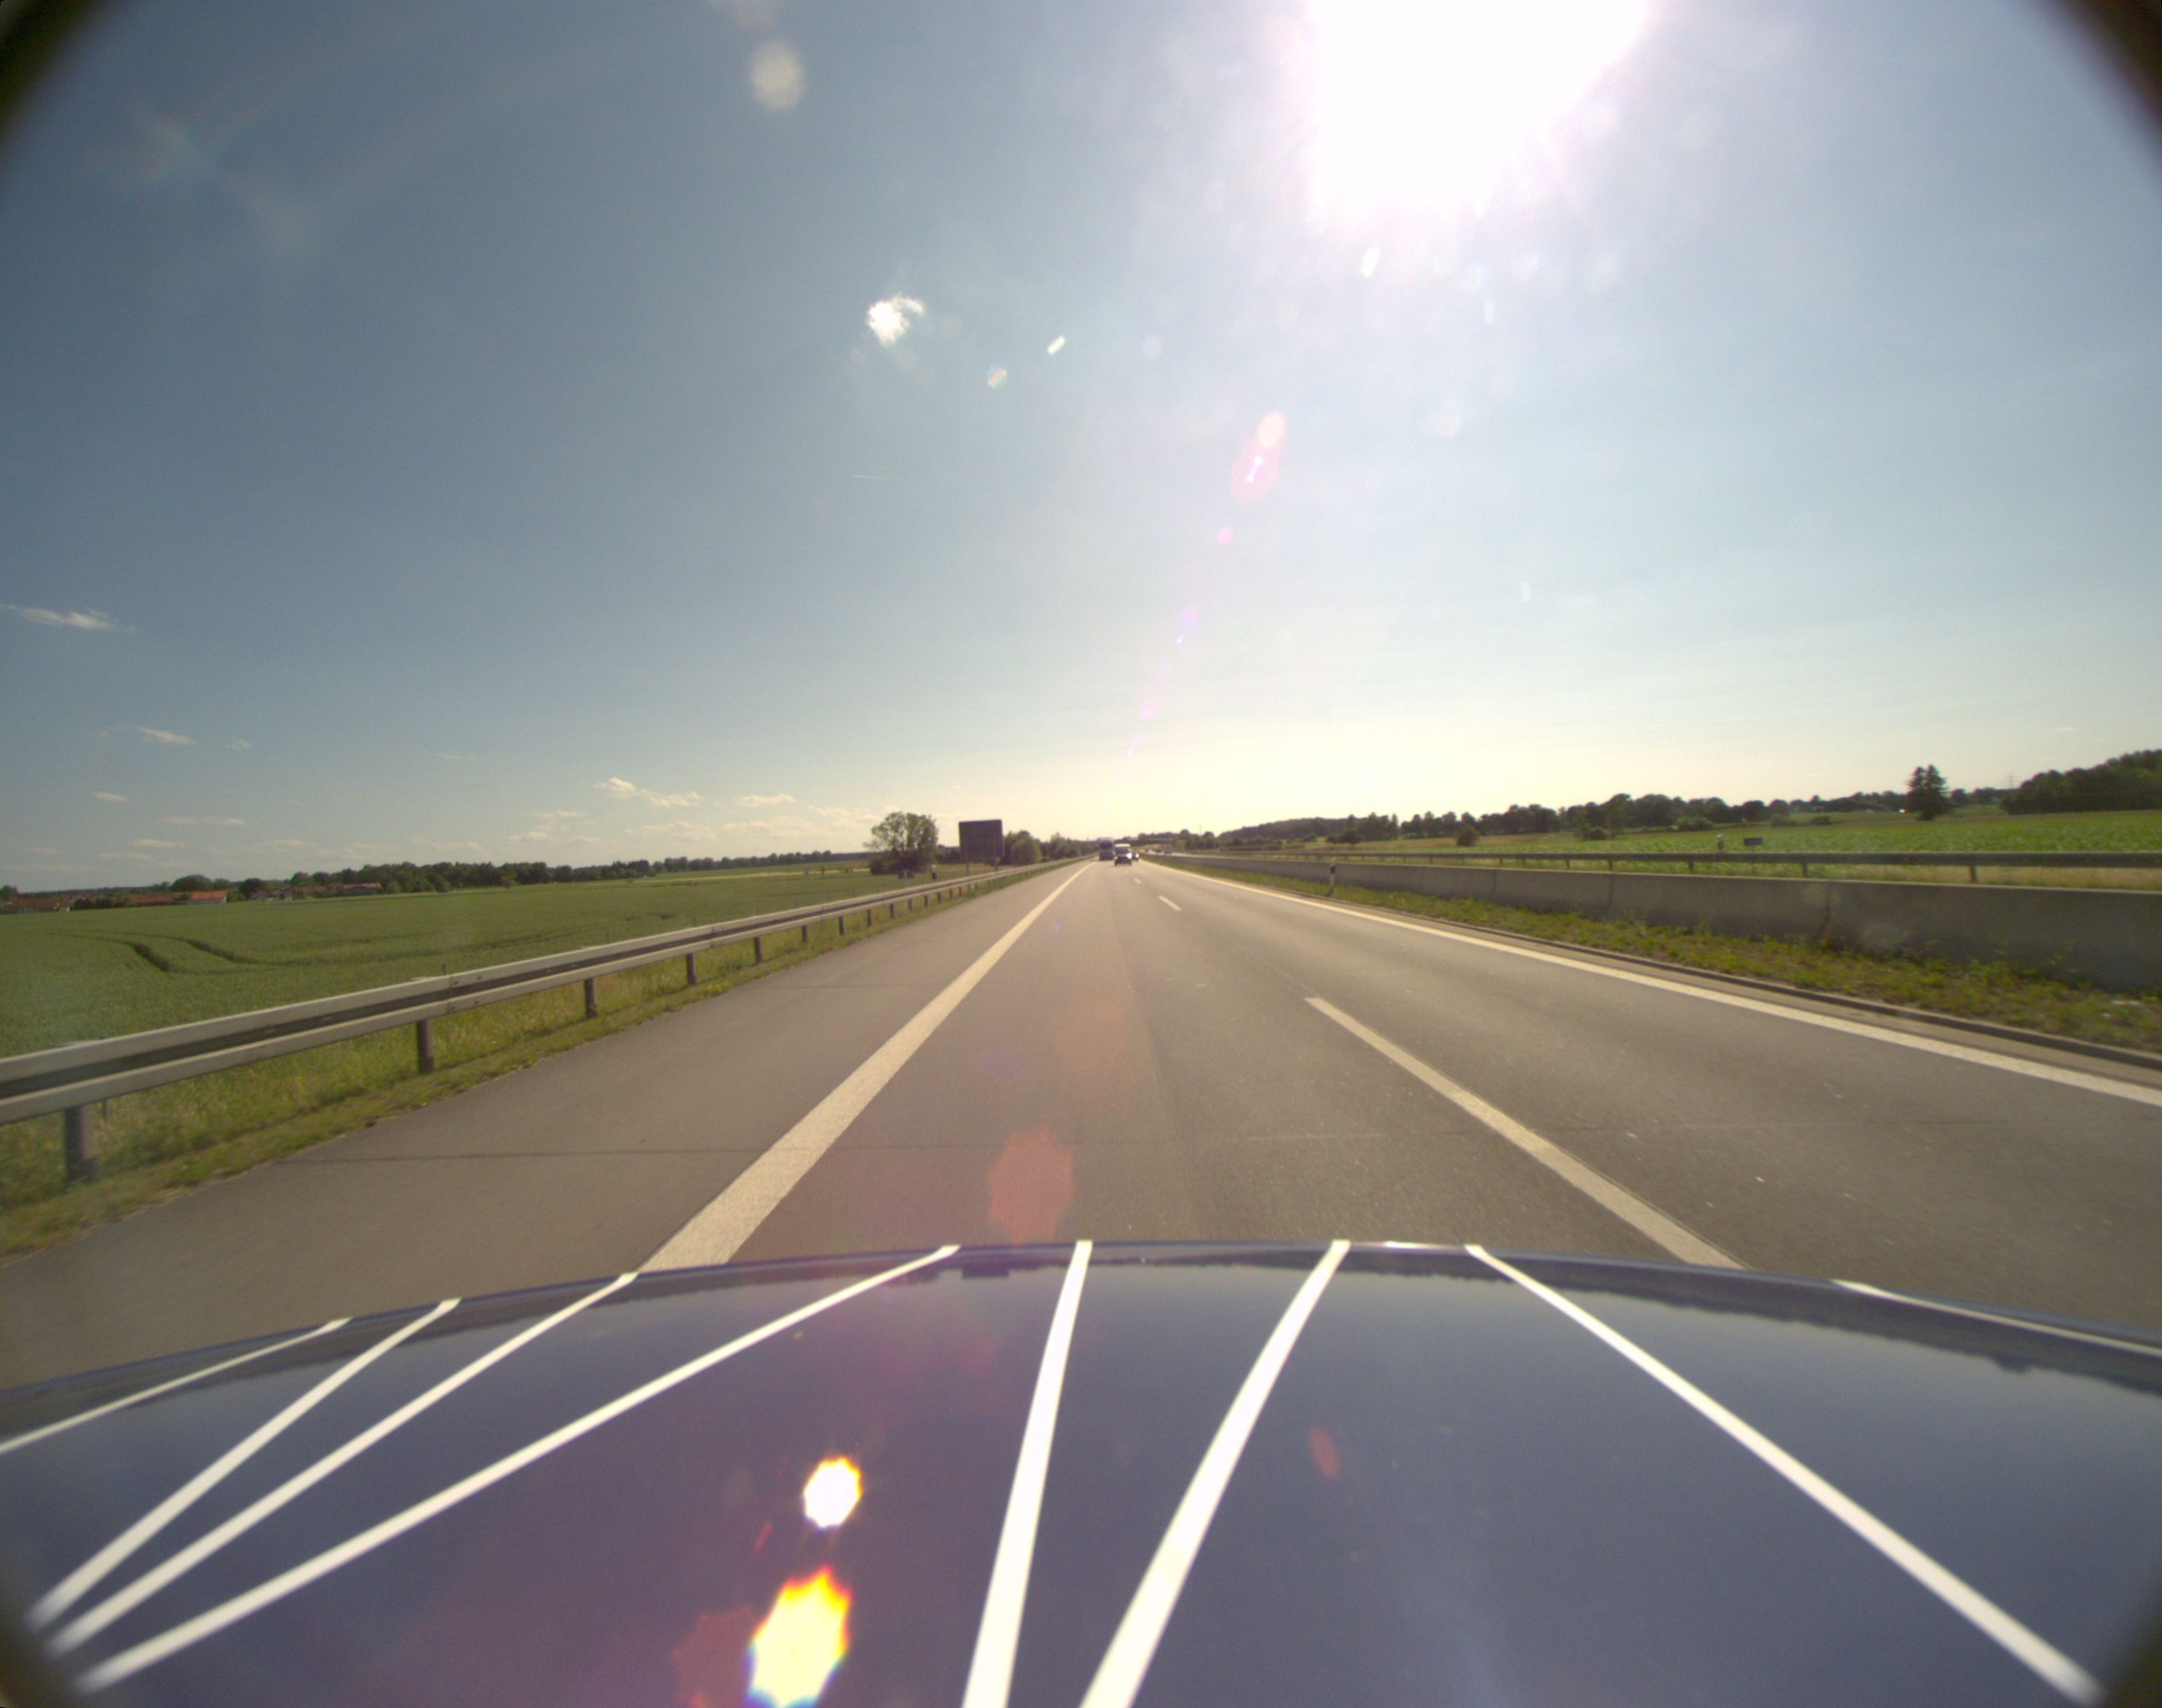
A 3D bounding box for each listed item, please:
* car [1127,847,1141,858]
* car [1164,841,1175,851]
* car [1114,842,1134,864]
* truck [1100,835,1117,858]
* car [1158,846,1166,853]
[{"bbox_3d":[8.018,-0.164,115.348,2.030,1.600,4.819,-1,0,2],"label":"car"},{"bbox_3d":[24.083,-2.111,206.838,2.392,2.543,5.454,-1,0,2],"label":"car"},{"bbox_3d":[4.771,-0.117,84.134,2.030,2.225,4.819,-2,0,3],"label":"car"},{"bbox_3d":[4.951,-1.372,135.753,2.762,3.792,7.518,-3,1,3],"label":"truck"},{"bbox_3d":[27.629,-1.608,259.132,2.392,2.230,5.455,-1,0,4],"label":"car"}]
